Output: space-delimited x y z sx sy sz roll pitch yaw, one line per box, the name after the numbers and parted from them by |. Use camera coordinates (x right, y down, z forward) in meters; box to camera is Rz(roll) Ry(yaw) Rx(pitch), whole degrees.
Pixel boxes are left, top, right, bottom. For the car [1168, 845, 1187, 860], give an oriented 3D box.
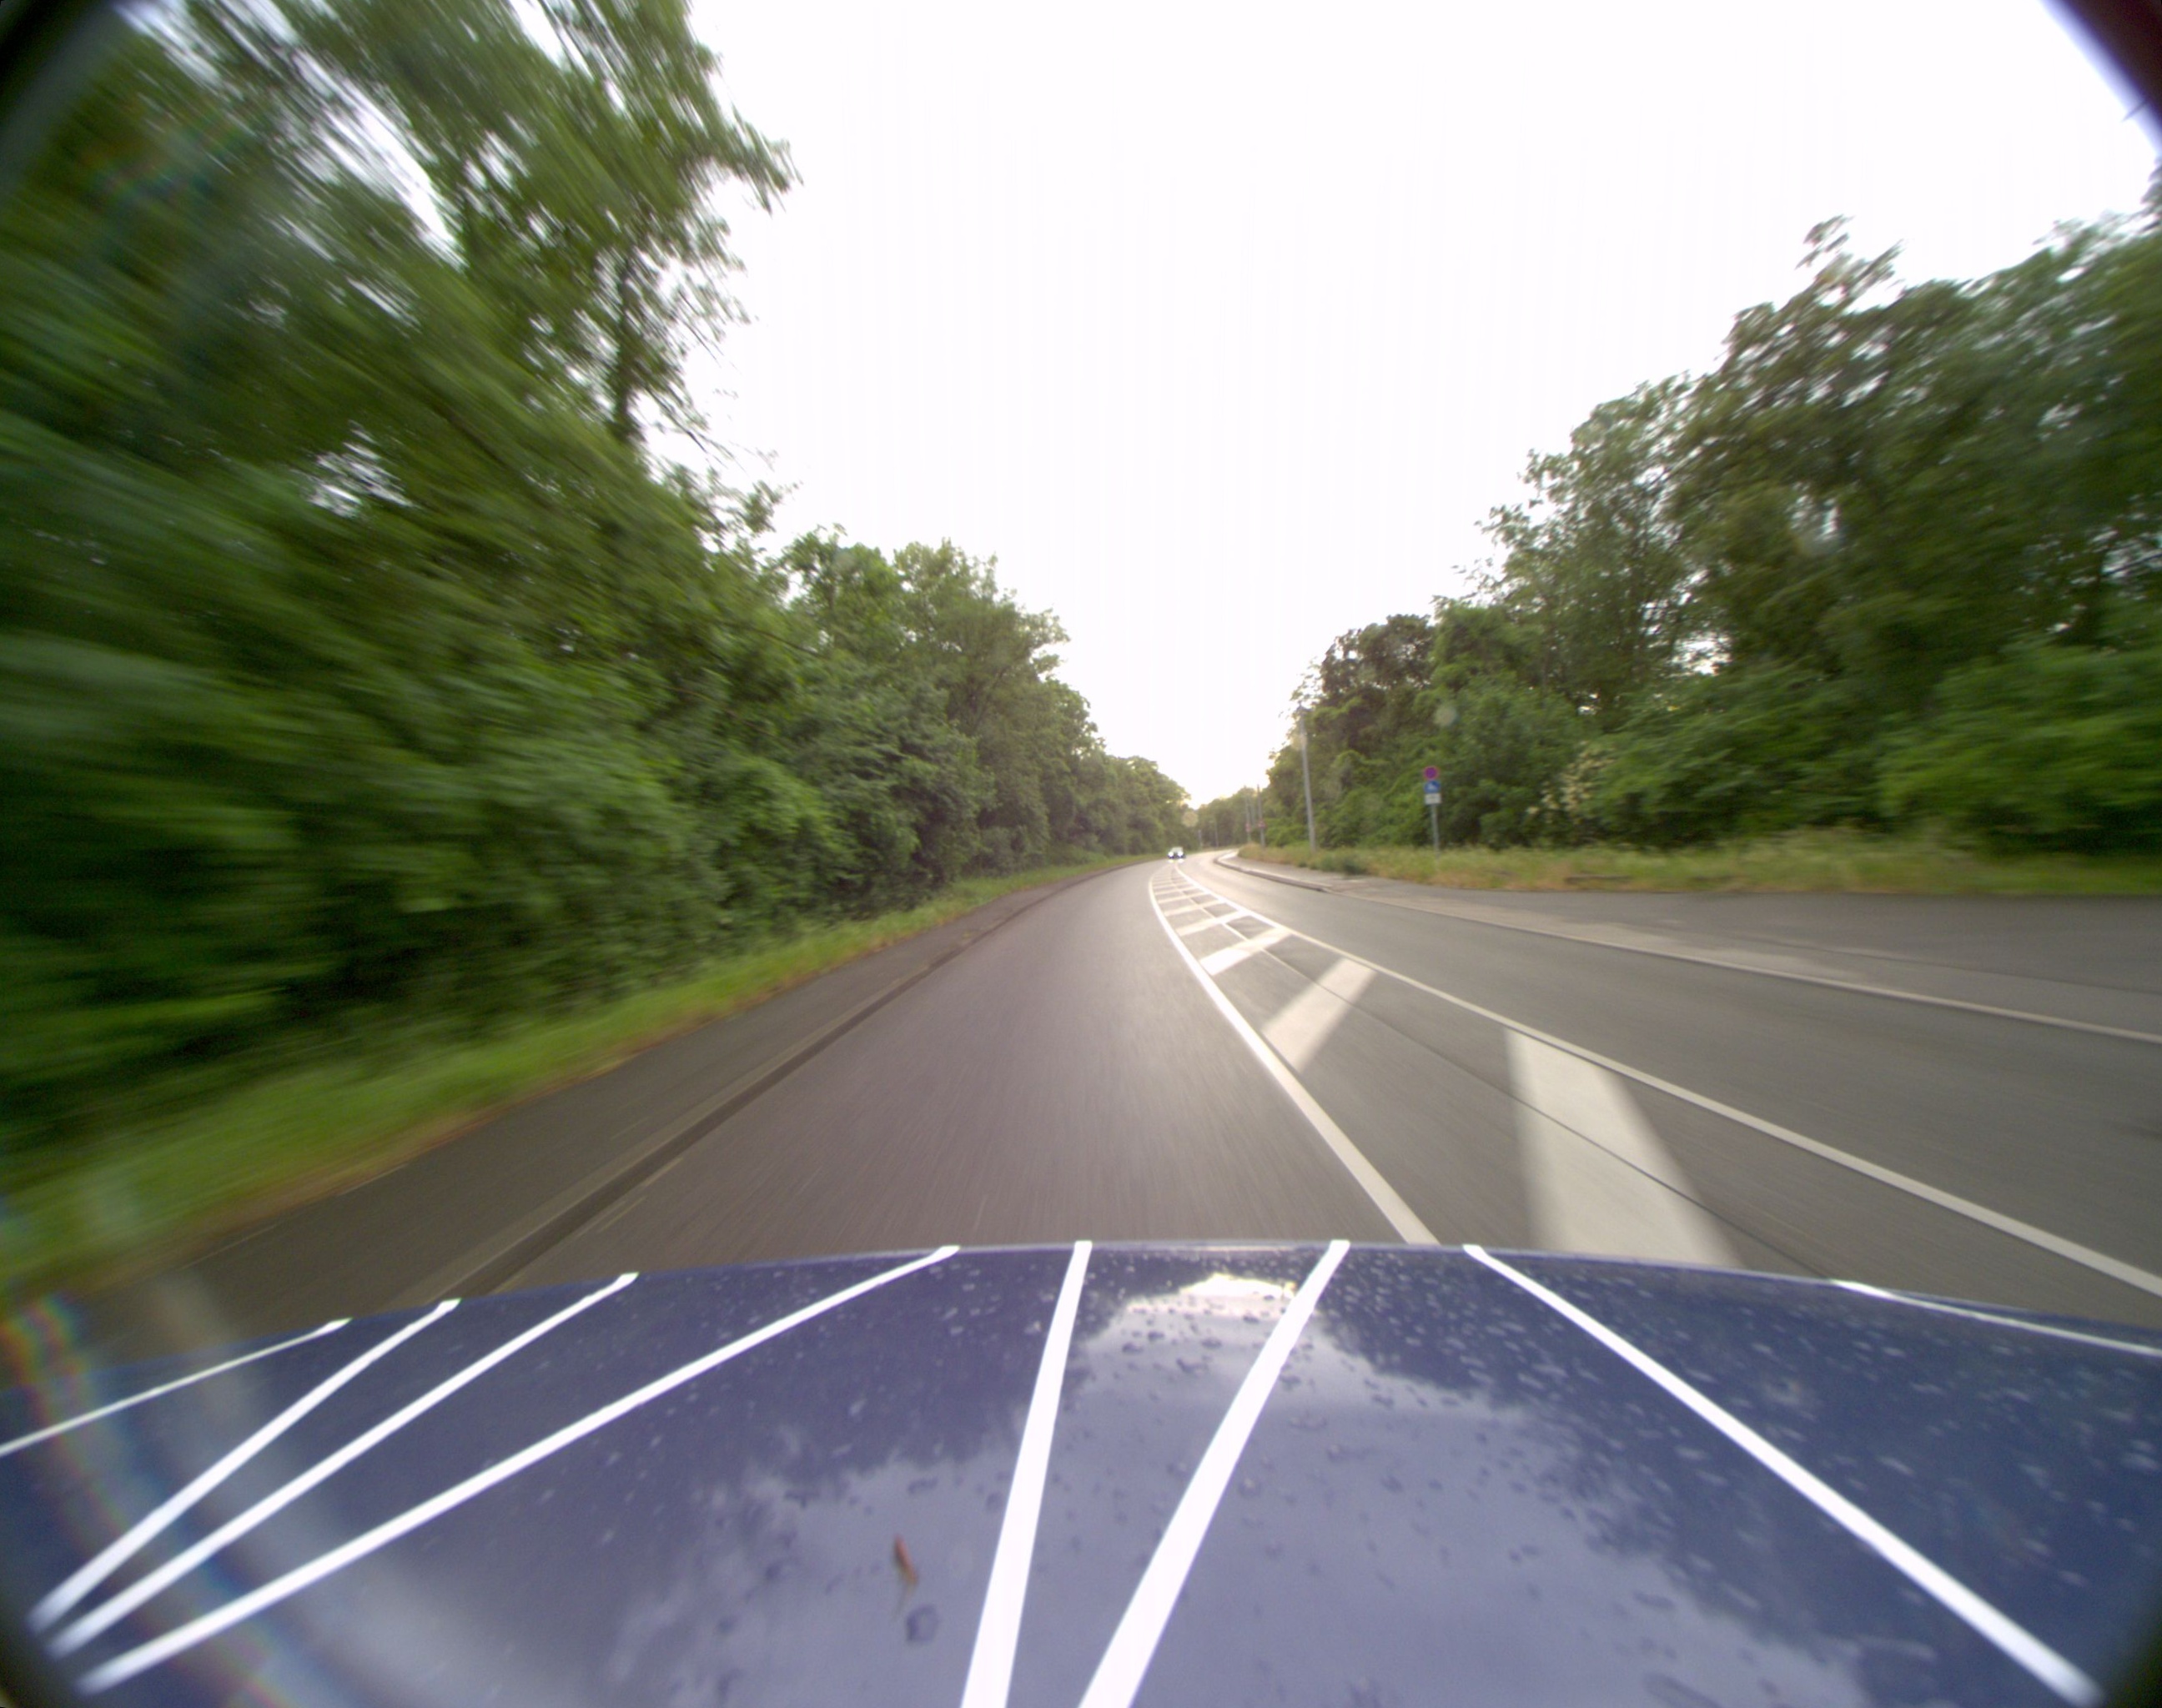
12.116 -0.211 95.120 1.997 1.674 4.003 -3 1 13 | car
